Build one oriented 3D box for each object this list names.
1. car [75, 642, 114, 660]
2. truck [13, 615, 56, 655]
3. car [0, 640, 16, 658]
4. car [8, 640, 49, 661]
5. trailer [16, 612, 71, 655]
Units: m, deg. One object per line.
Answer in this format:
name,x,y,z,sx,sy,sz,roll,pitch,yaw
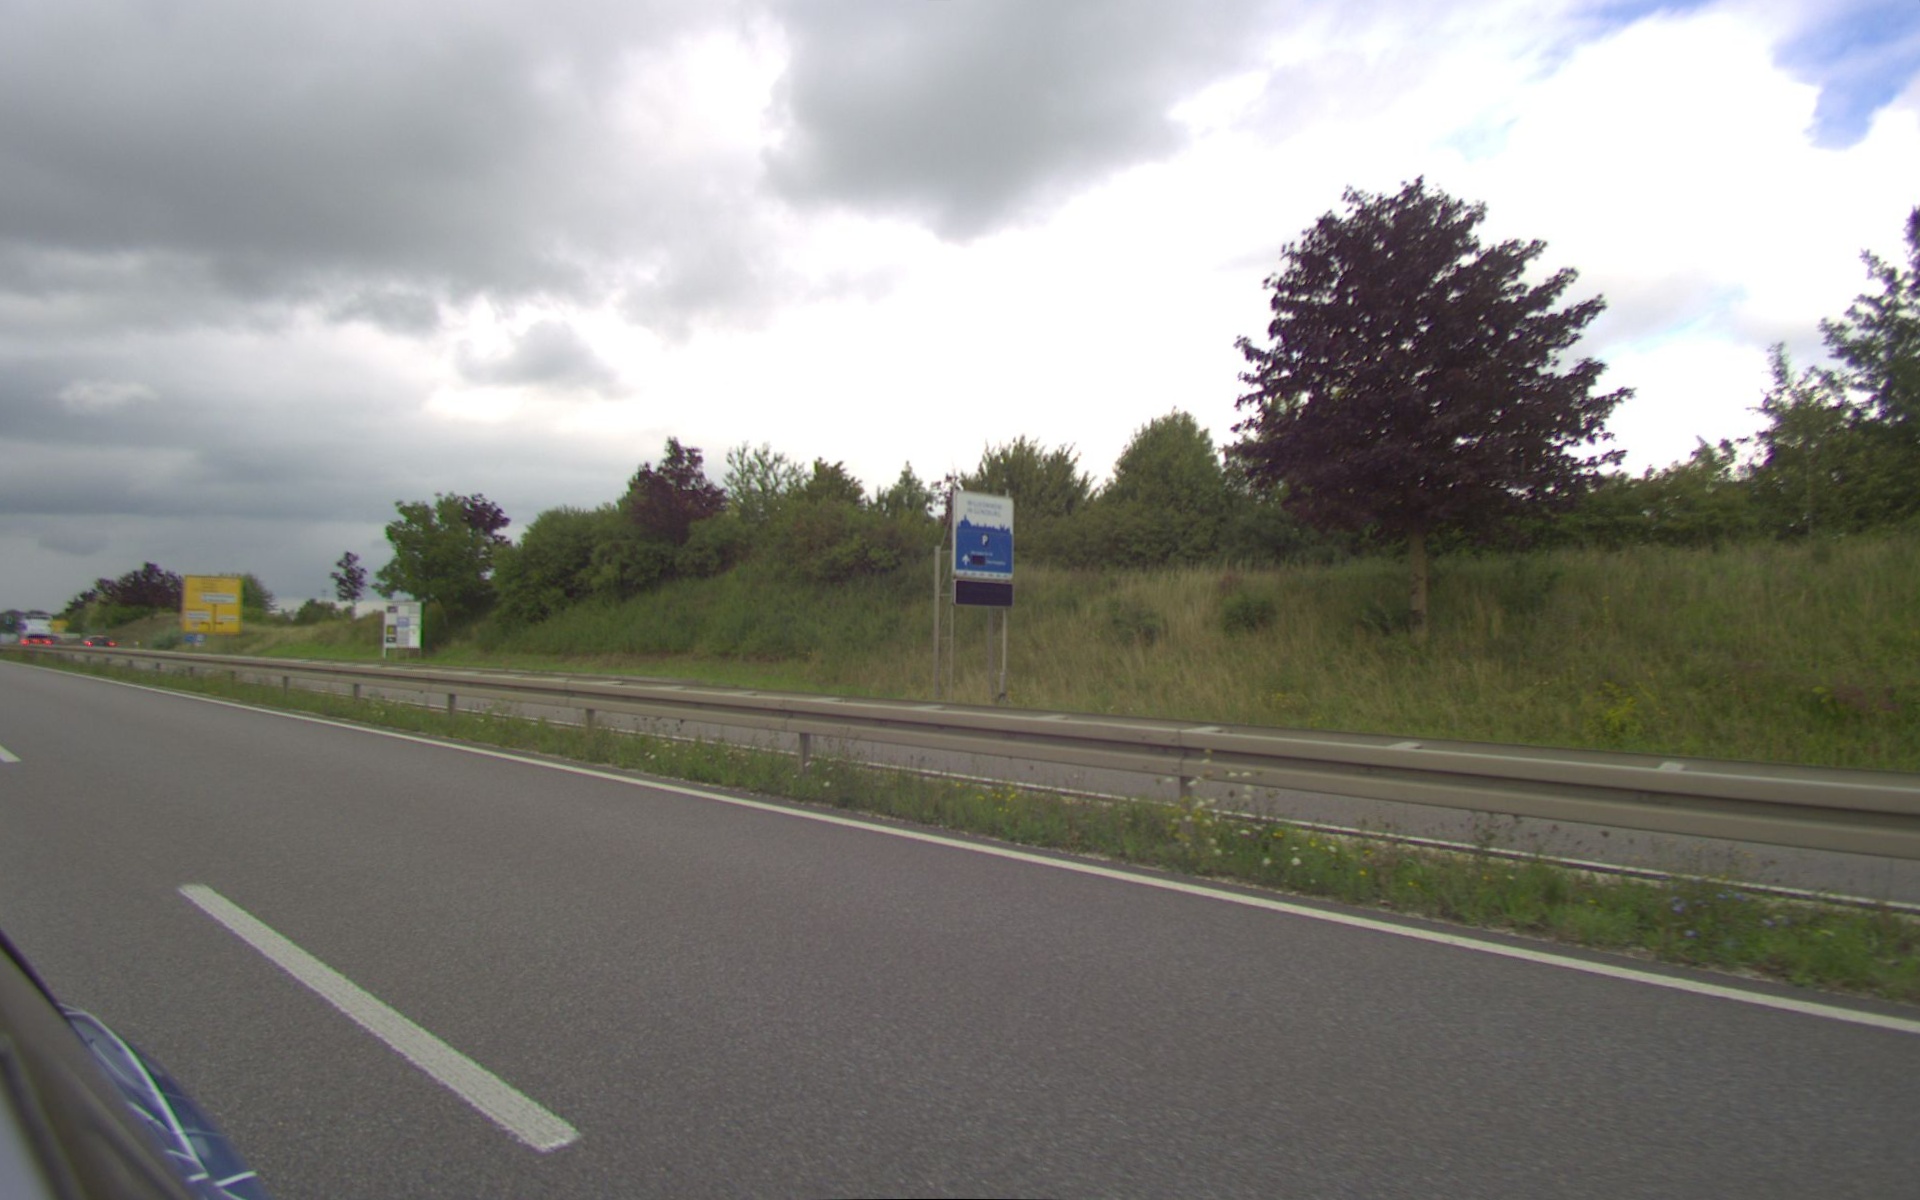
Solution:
car,-64.685,3.806,75.621,4.416,1.334,1.673,-3,-4,43
truck,-95.972,3.647,104.917,5.286,4.028,2.772,-3,-4,43
car,-133.986,6.942,141.799,5.634,2.458,2.011,-3,-6,42
car,-66.131,3.591,71.830,4.576,1.497,1.735,-3,-4,43
trailer,-91.042,3.414,100.433,12.982,3.977,2.745,-3,-4,42
